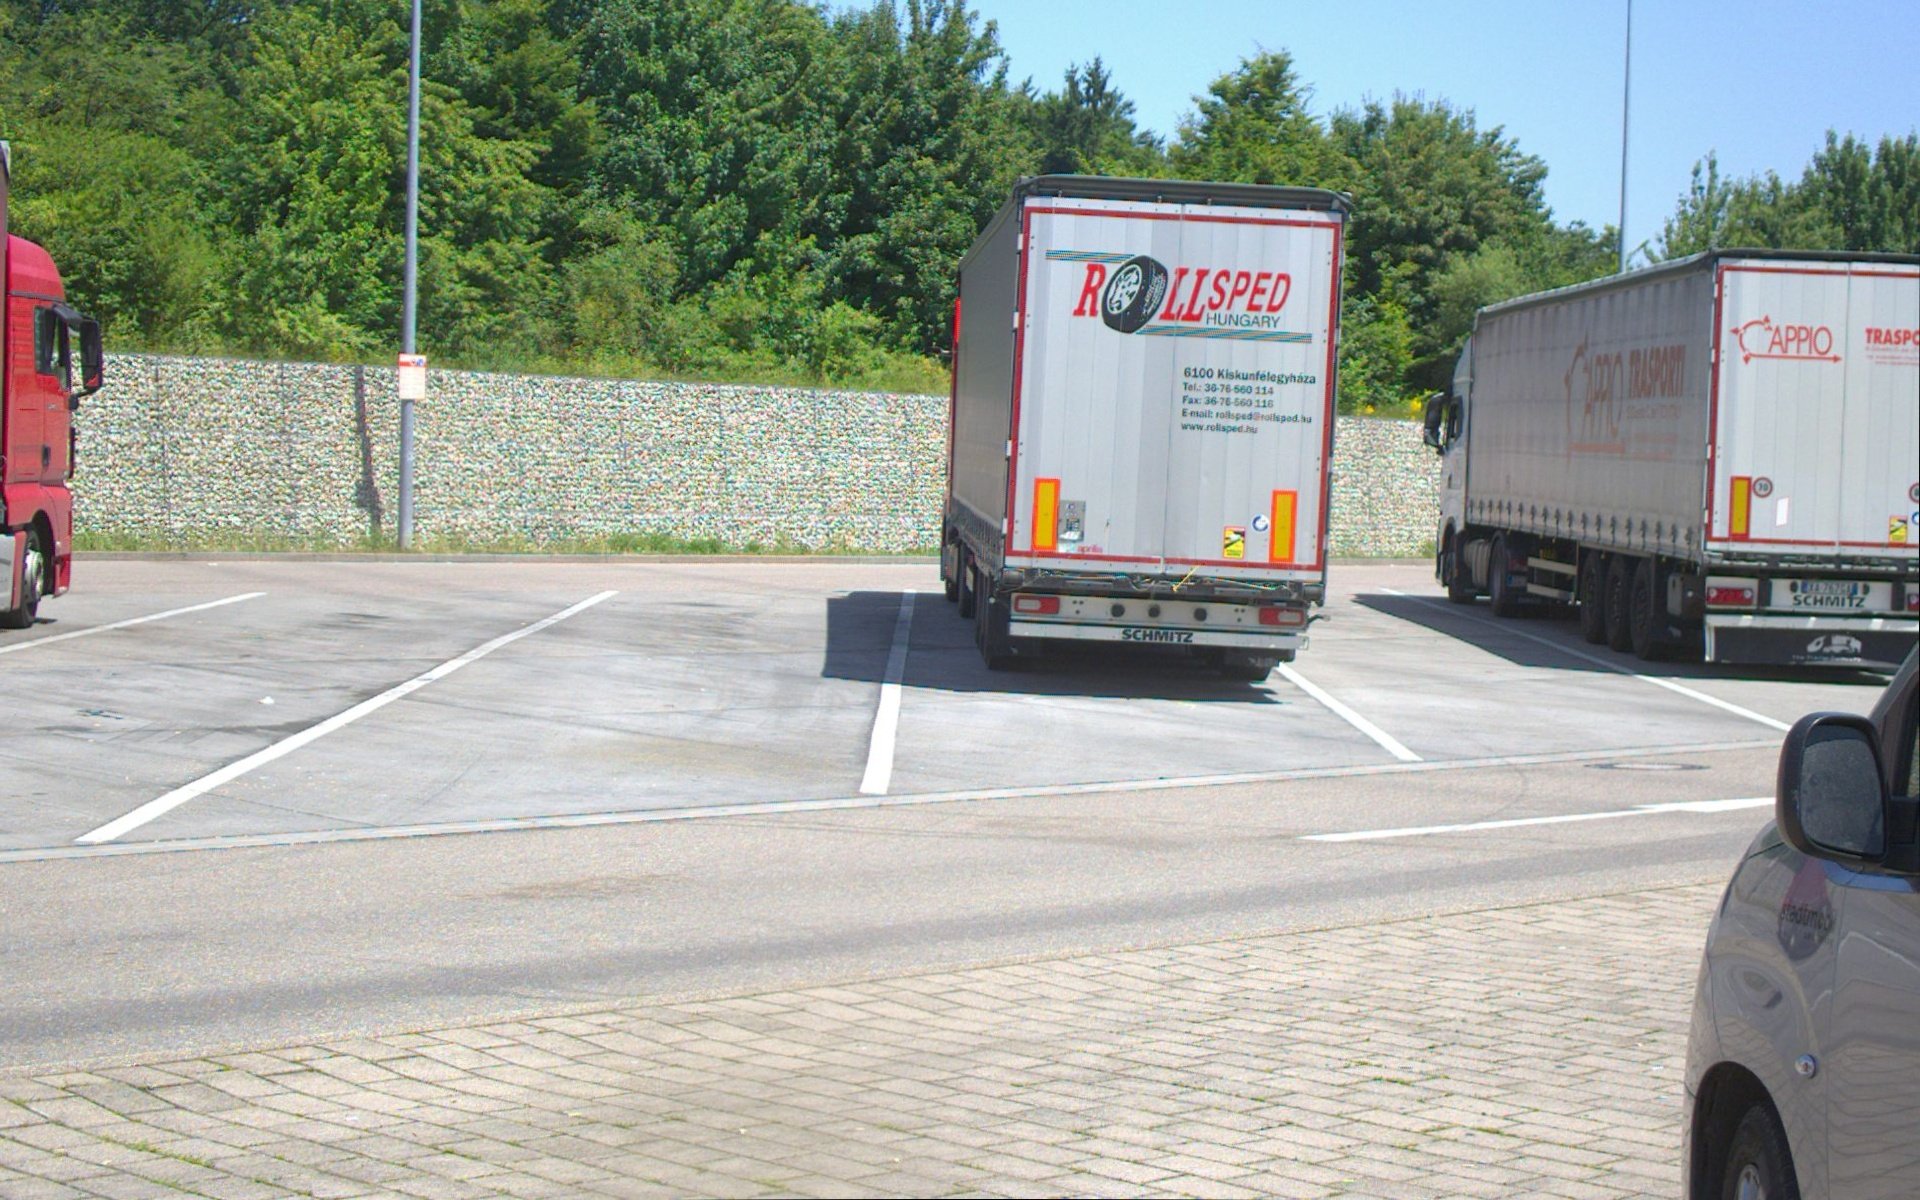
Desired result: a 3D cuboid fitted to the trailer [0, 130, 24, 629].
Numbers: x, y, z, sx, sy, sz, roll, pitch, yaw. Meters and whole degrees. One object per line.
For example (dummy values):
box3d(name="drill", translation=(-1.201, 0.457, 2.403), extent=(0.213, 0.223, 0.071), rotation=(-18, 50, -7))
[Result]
box3d(name="trailer", translation=(-9.195, -1.490, 21.579), extent=(2.791, 4.071, 14.133), rotation=(2, 3, -1))

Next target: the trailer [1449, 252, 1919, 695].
box3d(name="trailer", translation=(8.112, -1.524, 38.743), extent=(2.811, 3.976, 14.396), rotation=(2, 3, -1))

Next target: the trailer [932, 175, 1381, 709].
box3d(name="trailer", translation=(1.446, -1.595, 33.630), extent=(3.133, 3.976, 14.397), rotation=(2, 3, -1))

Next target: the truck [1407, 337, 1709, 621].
box3d(name="truck", translation=(8.018, -1.701, 46.843), extent=(2.862, 3.509, 5.900), rotation=(2, 3, -1))

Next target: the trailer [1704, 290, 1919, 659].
box3d(name="trailer", translation=(11.752, -1.456, 39.795), extent=(2.811, 3.976, 14.396), rotation=(2, 3, -1))

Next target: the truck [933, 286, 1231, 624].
box3d(name="truck", translation=(1.308, -1.737, 40.522), extent=(3.103, 3.554, 5.900), rotation=(2, 3, -1))

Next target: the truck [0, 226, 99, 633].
box3d(name="truck", translation=(-9.240, -1.446, 28.153), extent=(2.851, 3.316, 5.900), rotation=(2, 3, -1))

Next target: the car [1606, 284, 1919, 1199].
box3d(name="car", translation=(2.150, 0.586, 3.861), extent=(1.869, 1.857, 4.177), rotation=(2, 2, -2))
